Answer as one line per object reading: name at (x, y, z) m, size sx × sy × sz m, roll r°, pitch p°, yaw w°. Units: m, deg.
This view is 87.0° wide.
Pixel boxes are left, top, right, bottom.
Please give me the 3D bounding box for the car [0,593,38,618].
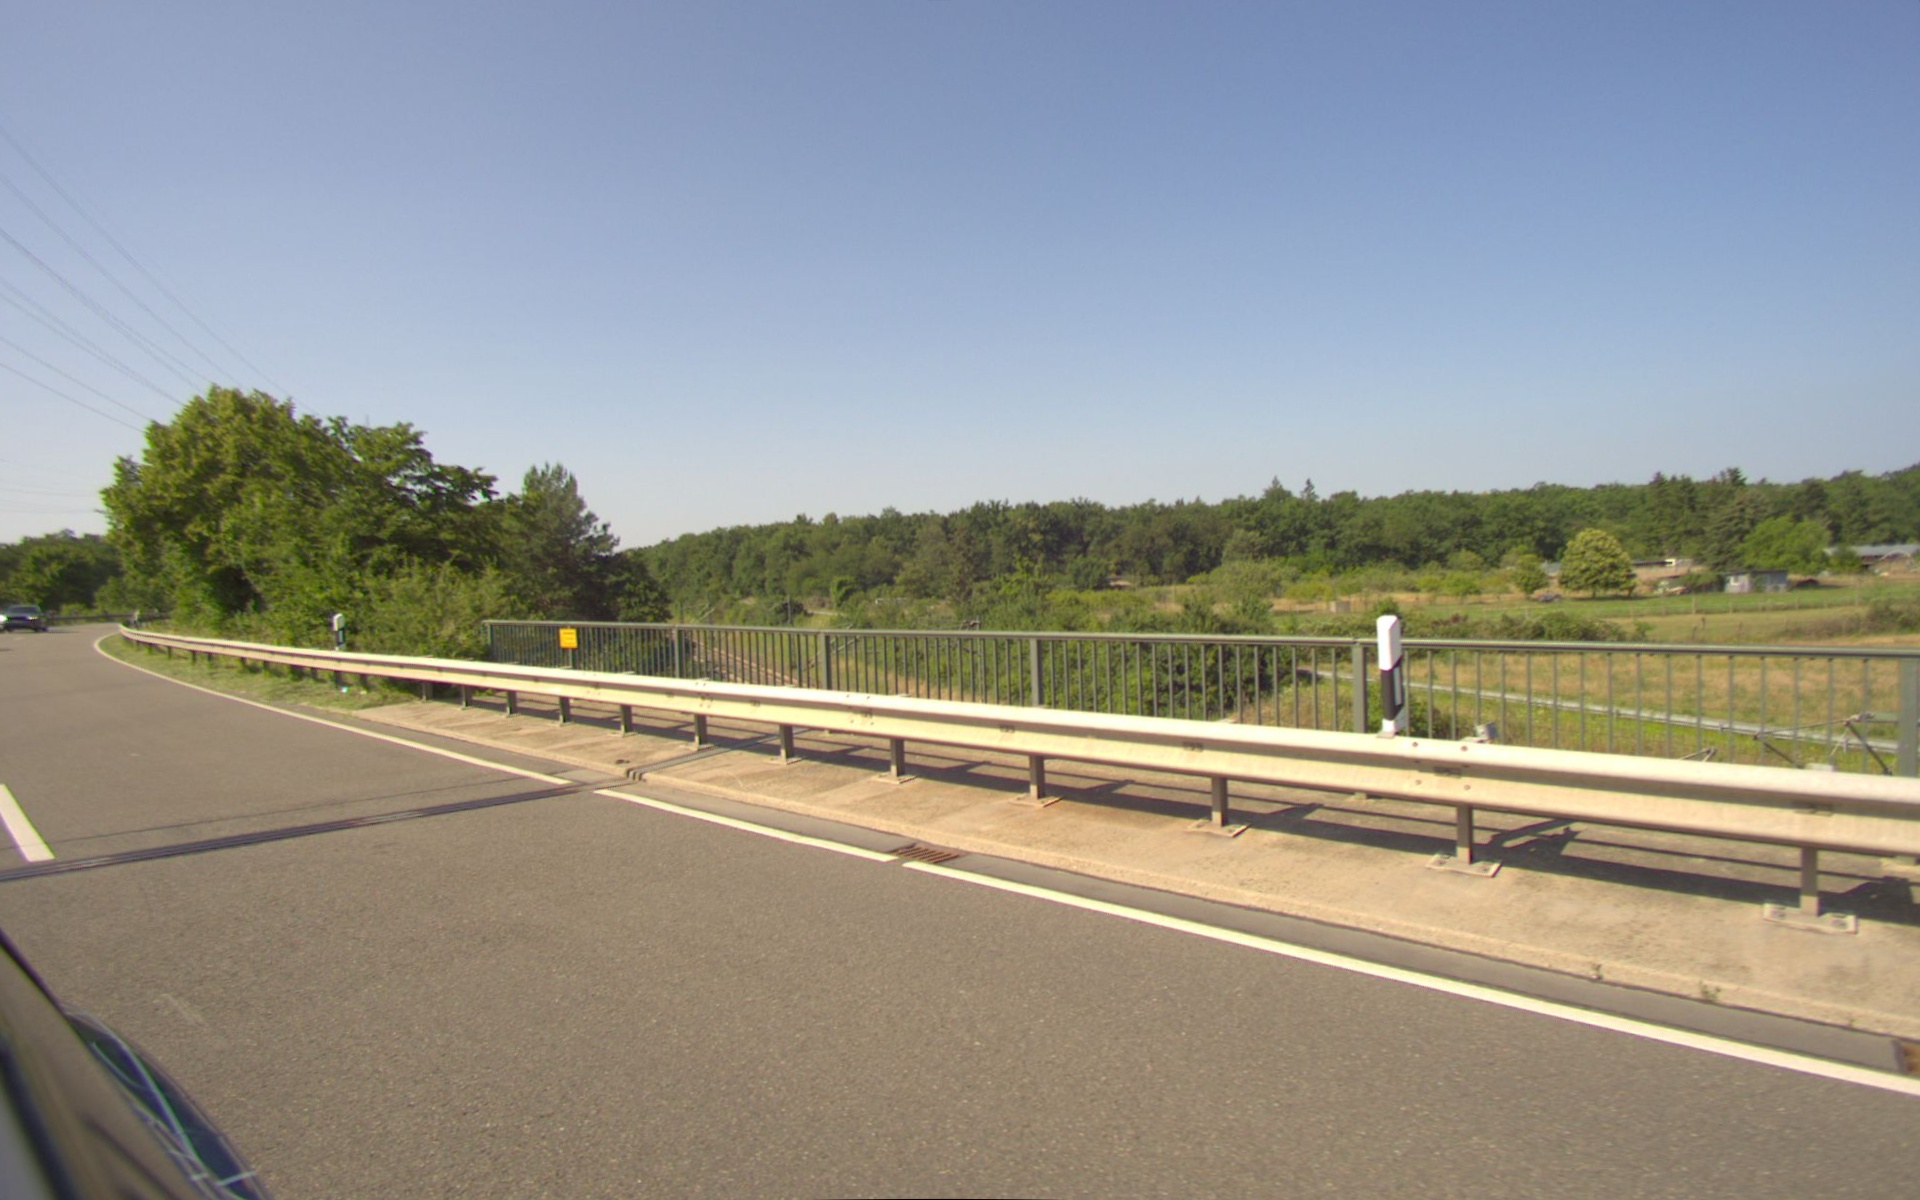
car at (-57.381, 0.303, 61.551) m, size 1.582 × 1.506 × 4.009 m, roll 0°, pitch 1°, yaw -37°
